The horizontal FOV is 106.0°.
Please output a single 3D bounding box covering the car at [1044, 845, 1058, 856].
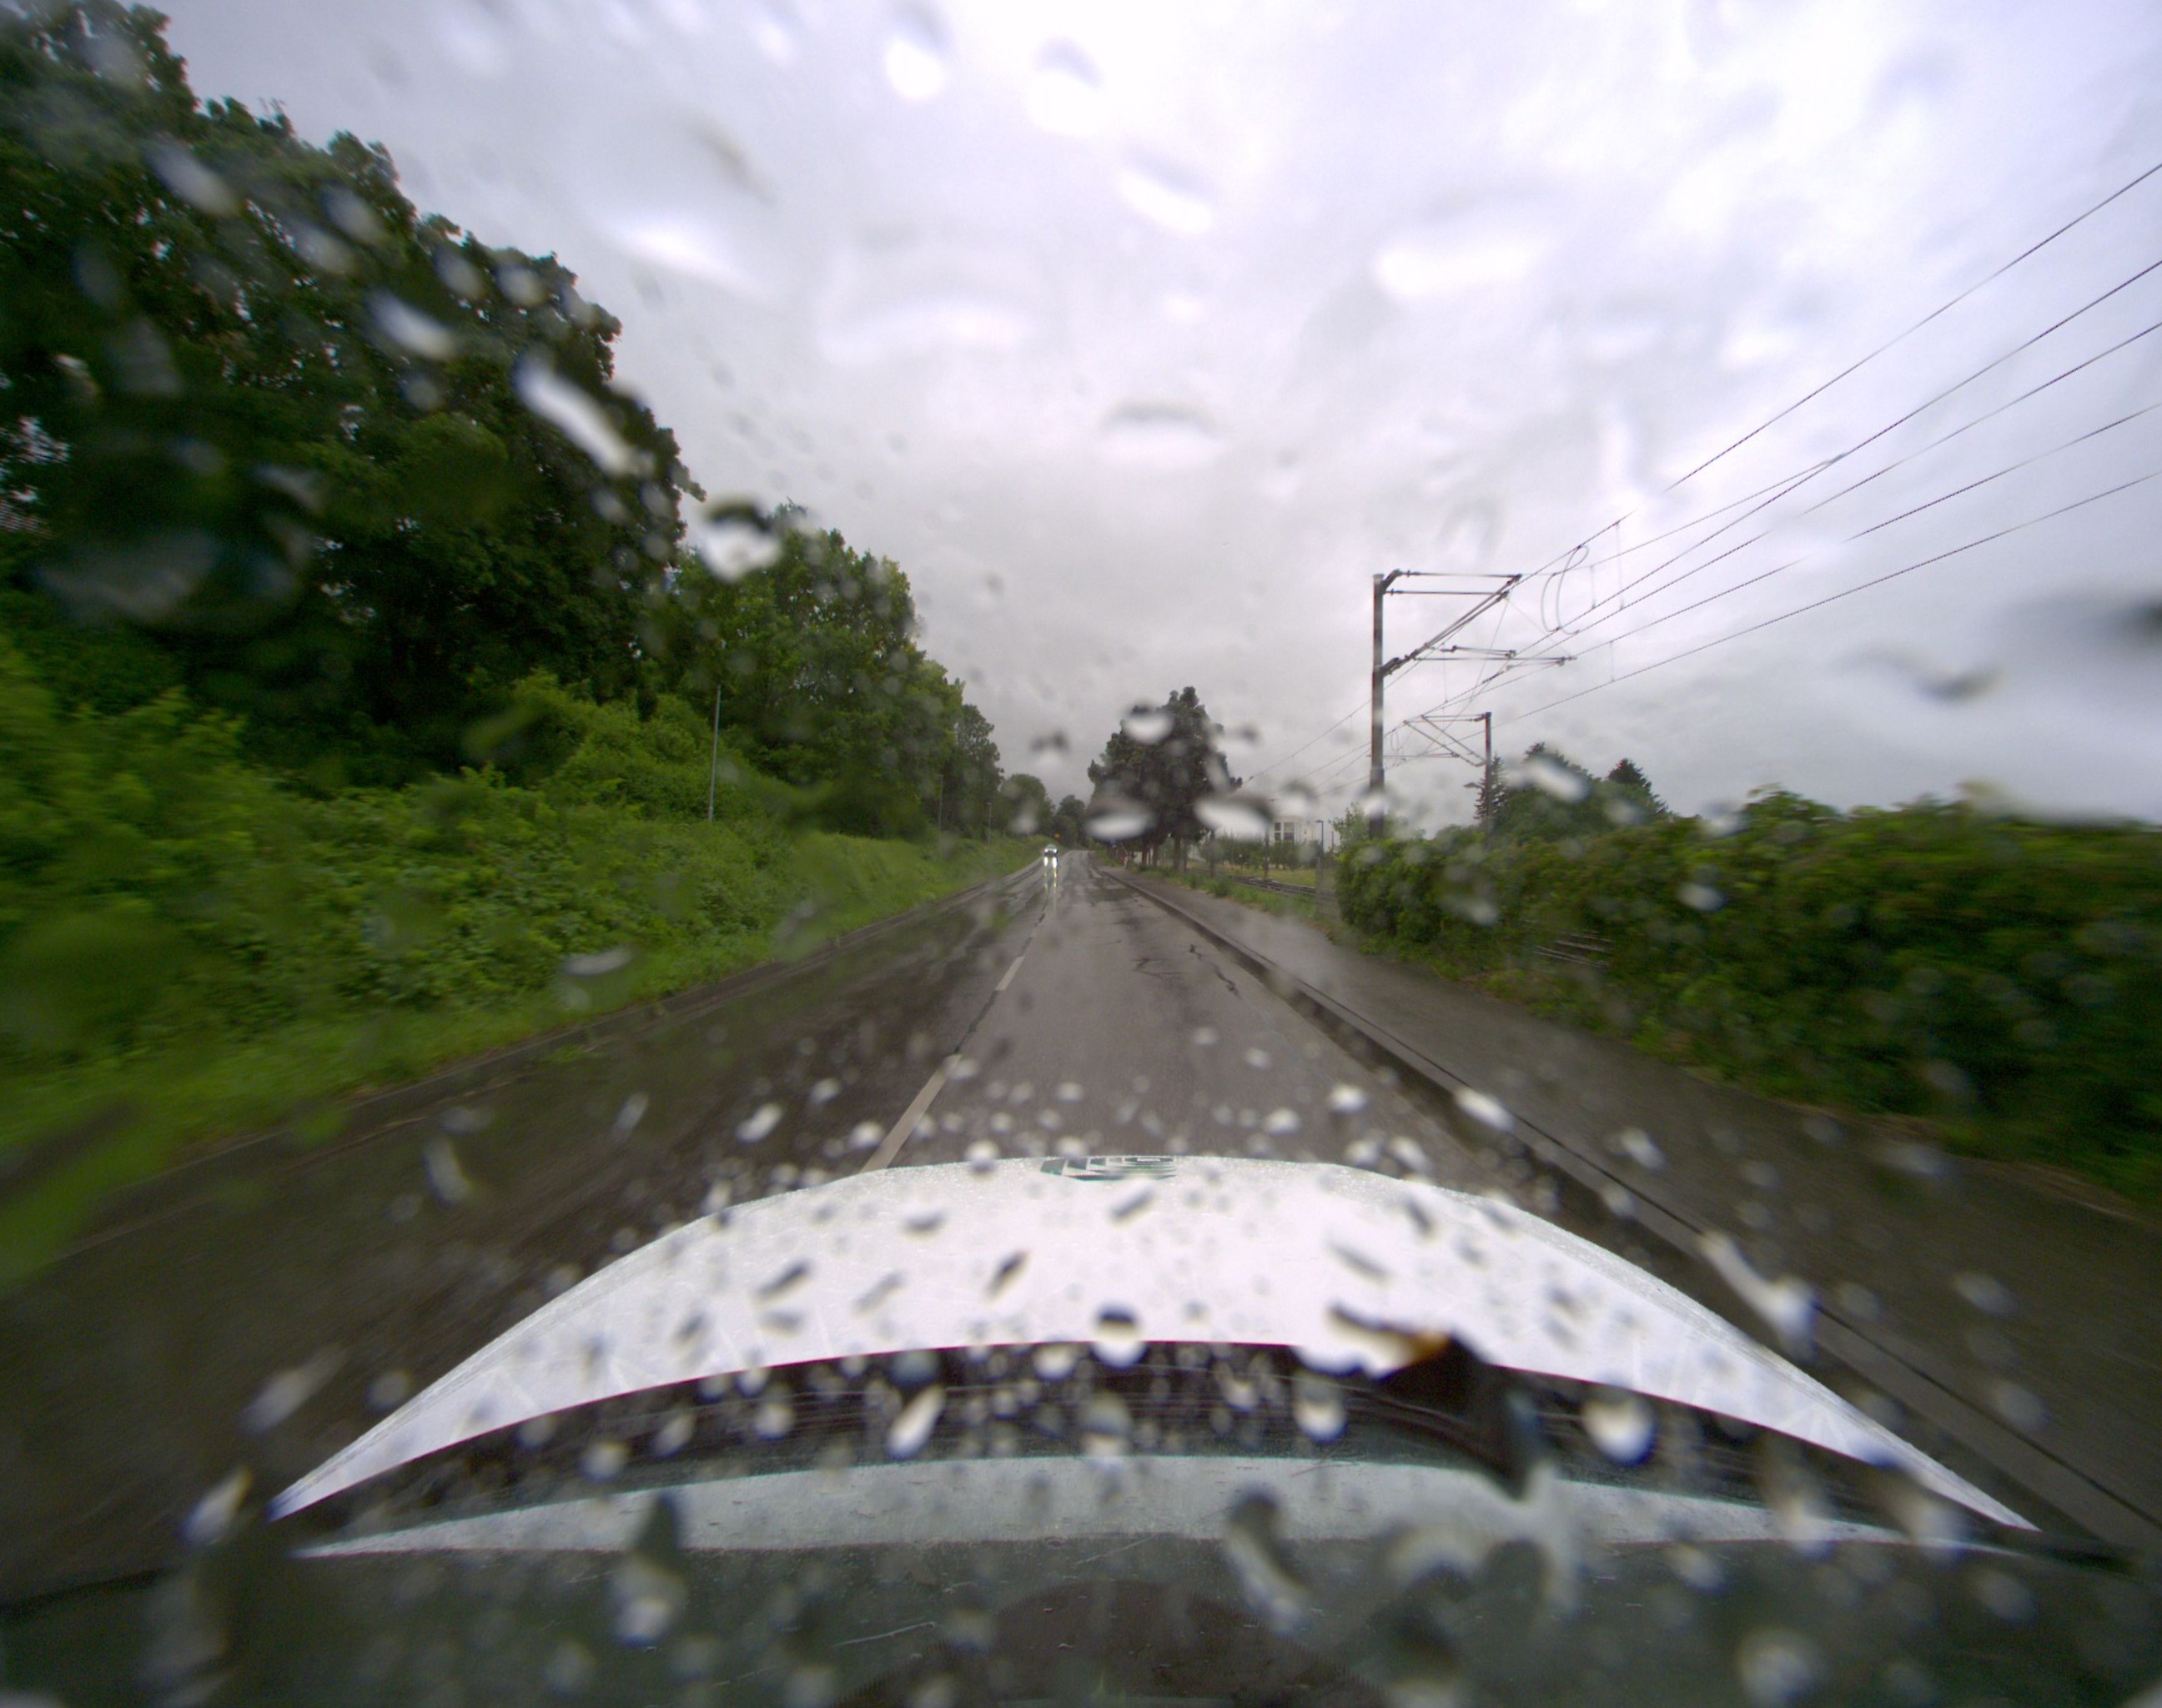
[{"bbox_3d":[-4.475,-0.532,120.883,1.741,1.612,4.081,1,1,-5],"label":"car"}]
